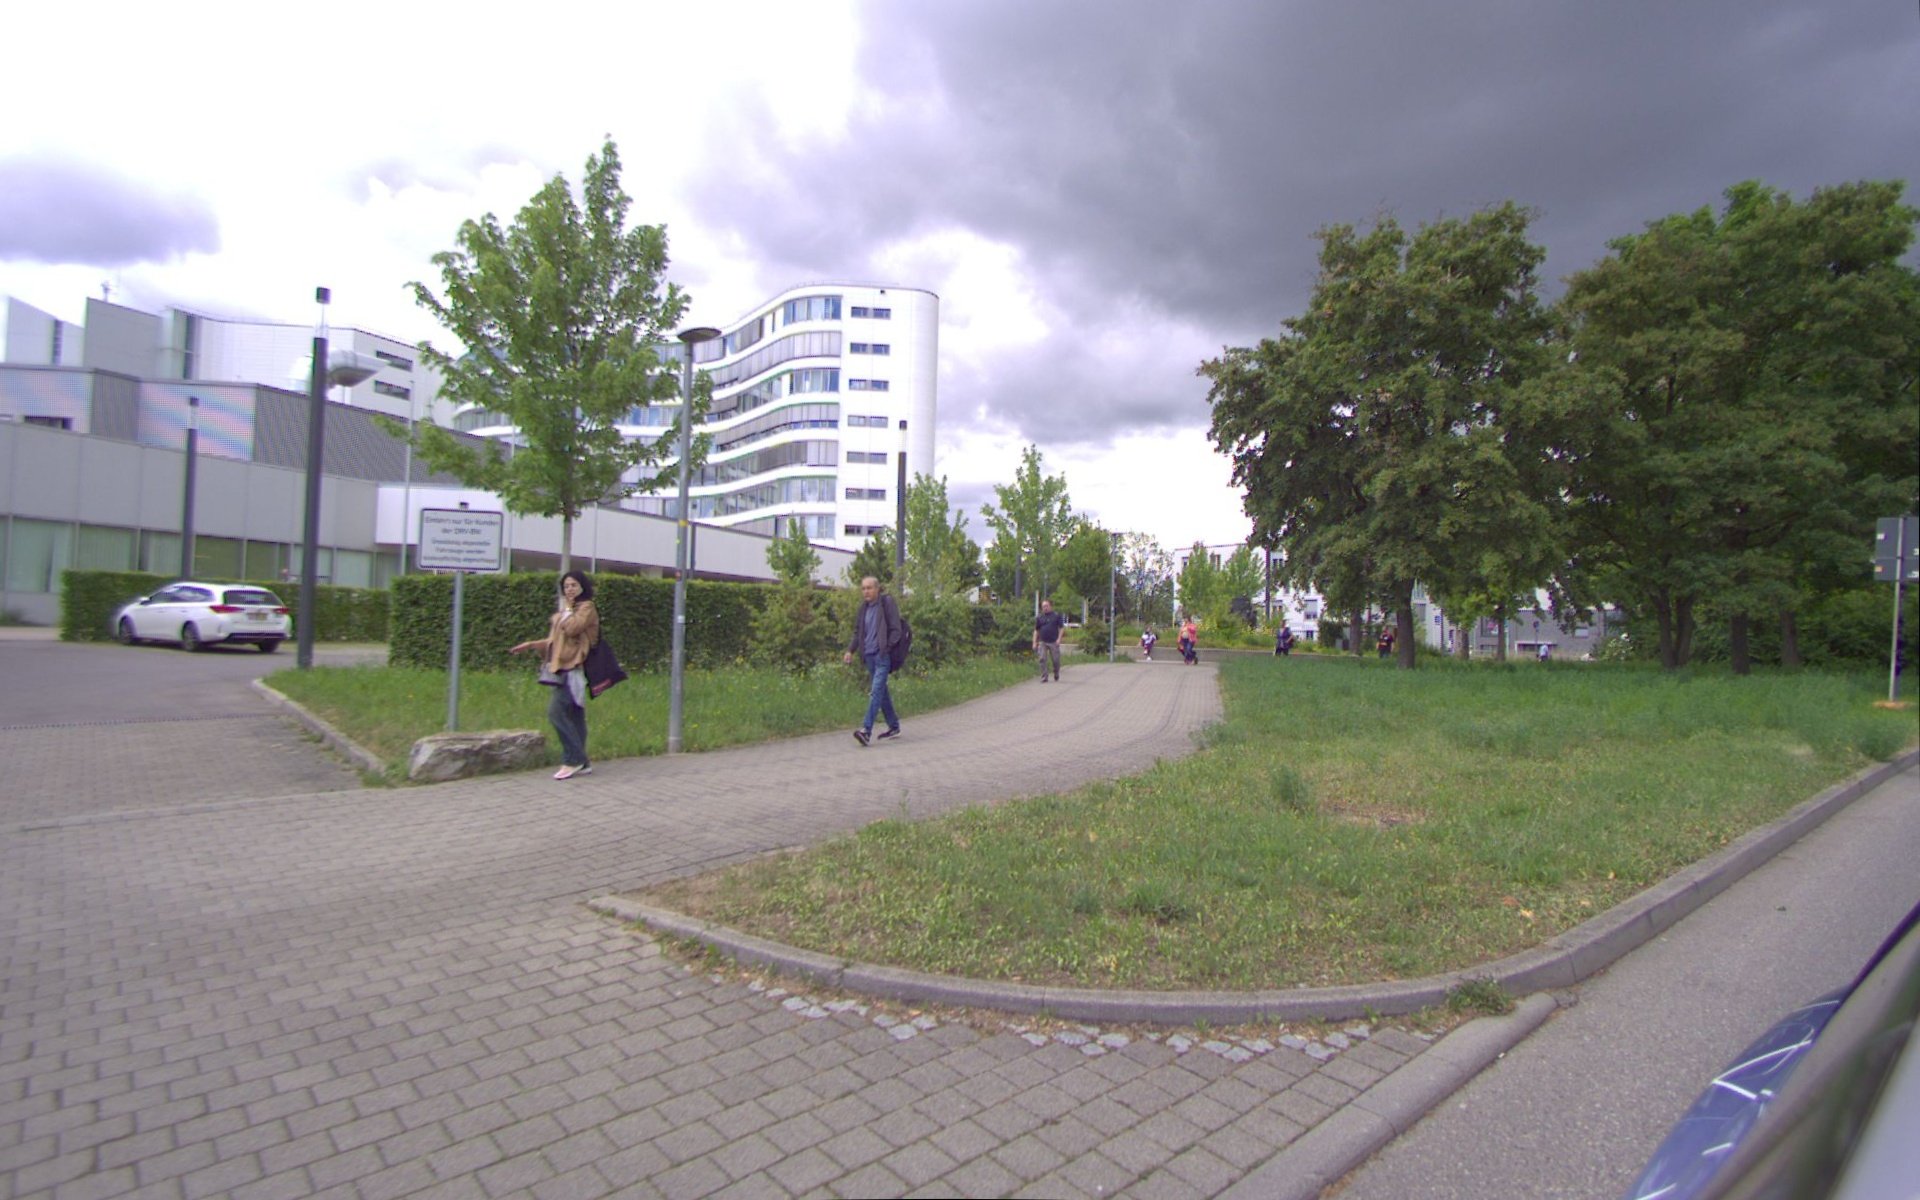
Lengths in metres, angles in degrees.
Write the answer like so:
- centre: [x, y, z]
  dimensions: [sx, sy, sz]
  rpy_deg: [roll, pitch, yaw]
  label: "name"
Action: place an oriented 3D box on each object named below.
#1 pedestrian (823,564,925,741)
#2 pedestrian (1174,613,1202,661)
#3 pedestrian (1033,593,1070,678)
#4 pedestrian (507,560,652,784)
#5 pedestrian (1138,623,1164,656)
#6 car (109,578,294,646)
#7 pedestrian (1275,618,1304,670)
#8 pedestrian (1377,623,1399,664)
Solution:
- centre: [-0.881, 0.521, 10.532]
  dimensions: [0.754, 1.744, 0.880]
  rpy_deg: [0, -1, 22]
  label: "pedestrian"
- centre: [7.403, 1.182, 32.884]
  dimensions: [0.673, 1.526, 0.657]
  rpy_deg: [-1, -2, 42]
  label: "pedestrian"
- centre: [1.821, 0.703, 20.178]
  dimensions: [0.629, 1.665, 0.600]
  rpy_deg: [0, -1, 18]
  label: "pedestrian"
- centre: [-3.069, 0.551, 8.214]
  dimensions: [0.646, 1.690, 0.888]
  rpy_deg: [-1, -1, 29]
  label: "pedestrian"
- centre: [6.933, 1.416, 36.683]
  dimensions: [0.673, 1.156, 0.657]
  rpy_deg: [-1, -1, 42]
  label: "pedestrian"
- centre: [-17.066, 0.266, 22.747]
  dimensions: [4.078, 1.408, 1.693]
  rpy_deg: [0, -1, 27]
  label: "car"
- centre: [10.688, 1.417, 32.835]
  dimensions: [0.673, 1.627, 0.657]
  rpy_deg: [-1, -2, 42]
  label: "pedestrian"
- centre: [15.522, 1.563, 36.702]
  dimensions: [0.669, 1.433, 0.661]
  rpy_deg: [0, -1, 26]
  label: "pedestrian"
